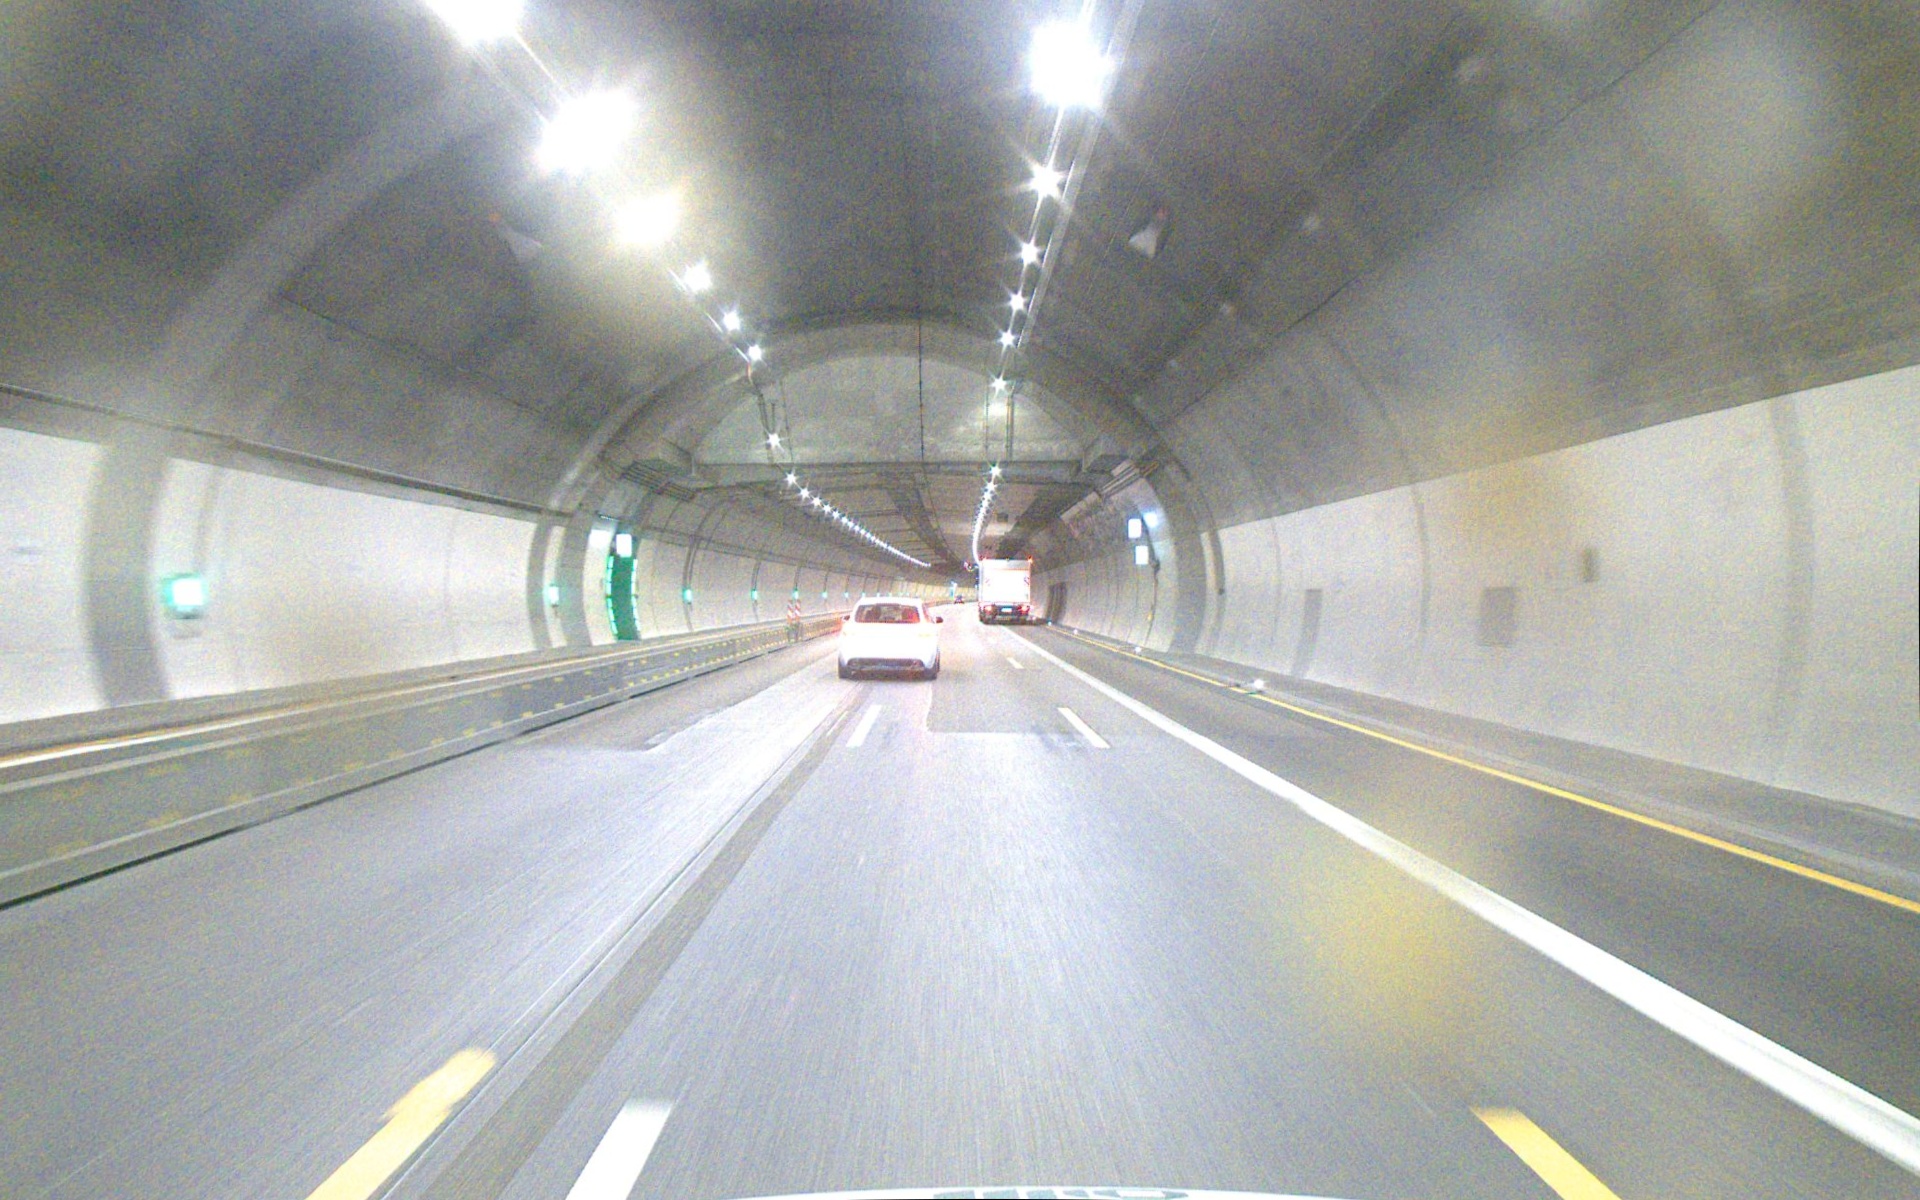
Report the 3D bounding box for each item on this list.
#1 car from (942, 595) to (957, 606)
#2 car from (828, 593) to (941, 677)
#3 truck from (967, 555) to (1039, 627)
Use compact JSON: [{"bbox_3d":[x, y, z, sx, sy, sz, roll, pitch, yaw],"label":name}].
[{"bbox_3d":[-1.597,0.068,254.141,1.952,1.545,4.002,1,0,3],"label":"car"},{"bbox_3d":[-1.369,0.606,31.318,1.953,1.437,4.741,1,0,-1],"label":"car"},{"bbox_3d":[2.306,-0.503,92.502,3.520,3.714,10.719,1,0,-1],"label":"truck"}]
